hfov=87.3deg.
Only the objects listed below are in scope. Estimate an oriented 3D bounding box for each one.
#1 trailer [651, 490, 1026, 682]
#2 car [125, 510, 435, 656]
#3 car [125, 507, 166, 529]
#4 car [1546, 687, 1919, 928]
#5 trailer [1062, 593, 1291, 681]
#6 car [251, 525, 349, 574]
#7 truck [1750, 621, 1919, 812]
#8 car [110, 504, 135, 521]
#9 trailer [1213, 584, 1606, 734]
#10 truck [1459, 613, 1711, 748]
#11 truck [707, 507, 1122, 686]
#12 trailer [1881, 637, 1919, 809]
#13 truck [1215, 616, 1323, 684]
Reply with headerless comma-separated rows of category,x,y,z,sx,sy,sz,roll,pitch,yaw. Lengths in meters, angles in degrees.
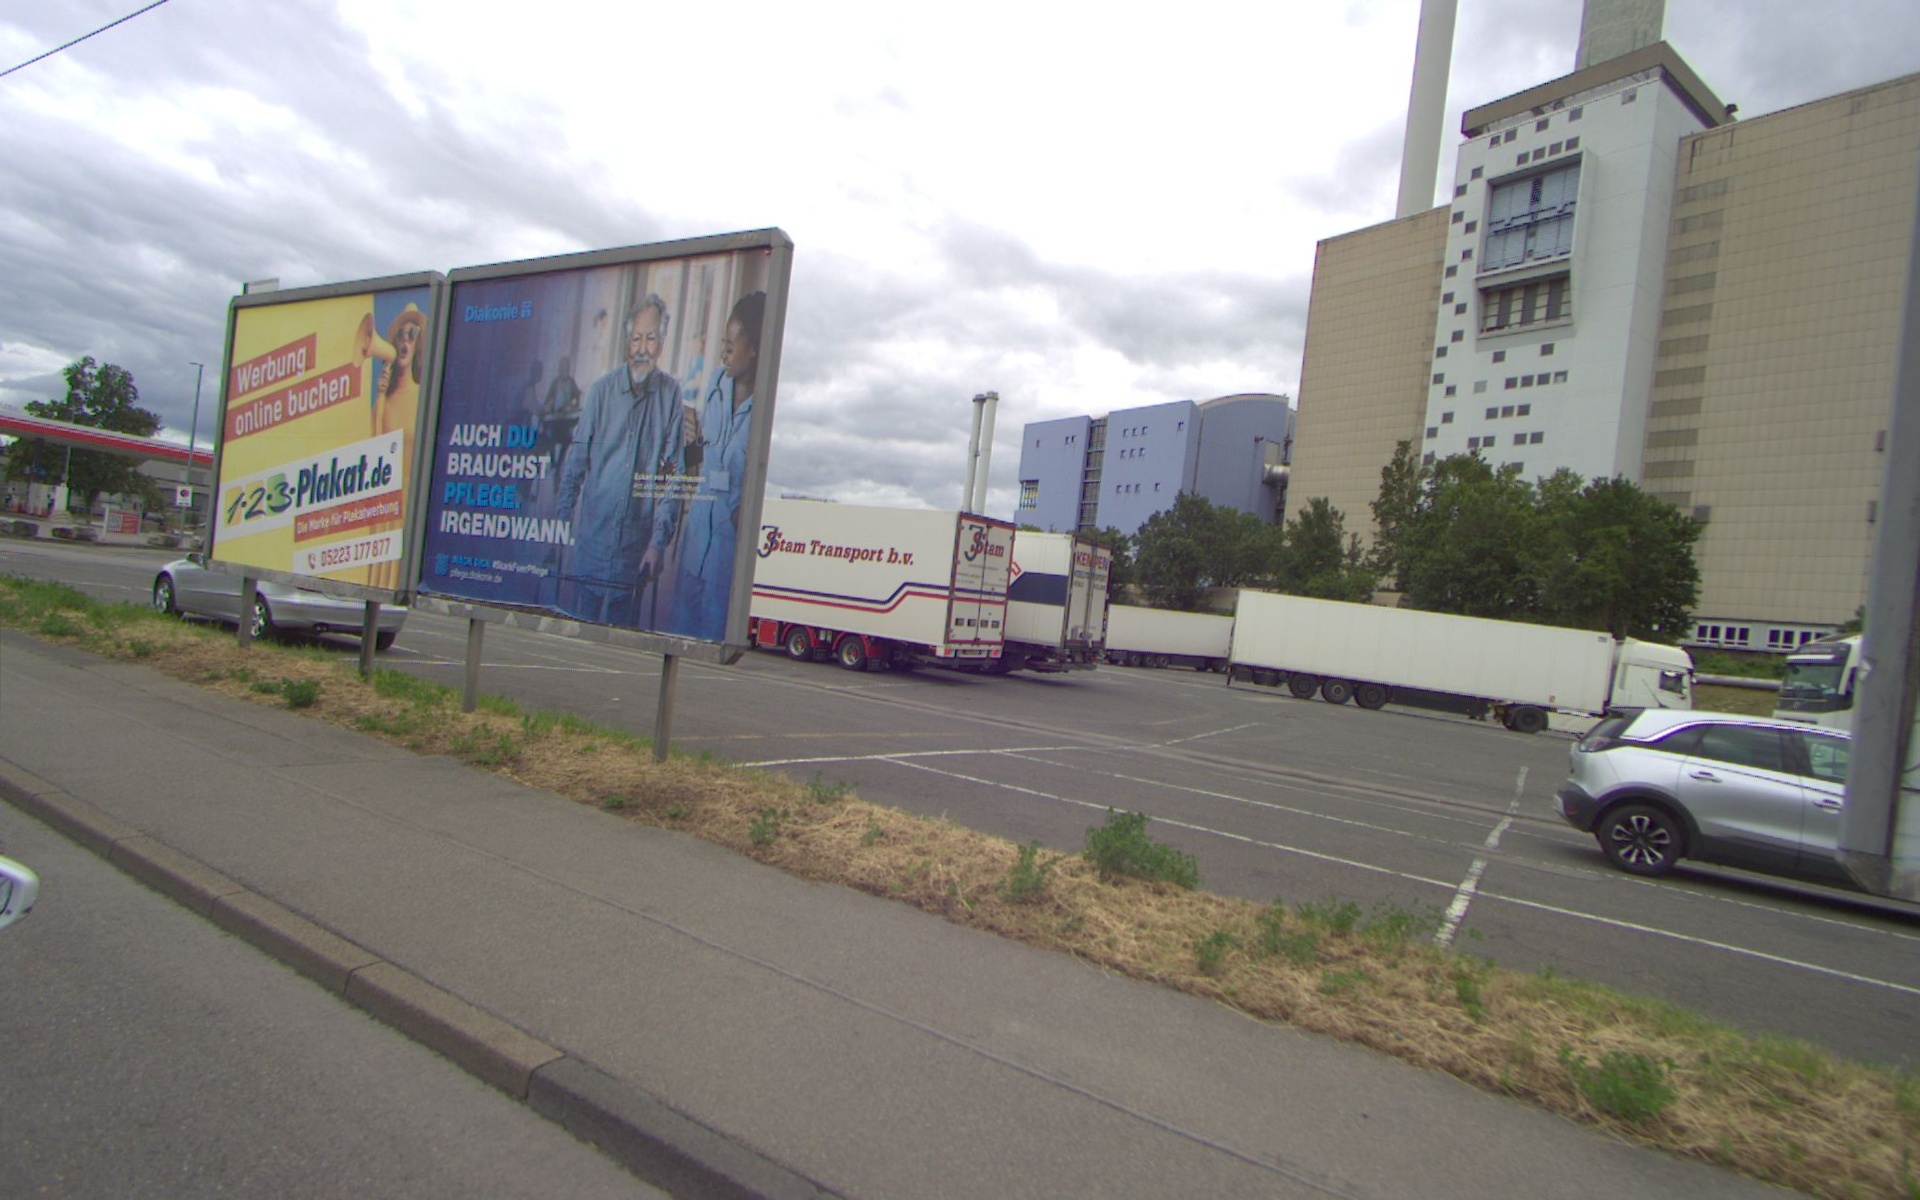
trailer,-3.556,-0.540,26.822,10.239,4.019,2.957,7,1,34
car,-9.635,-0.263,14.160,4.483,1.481,1.776,7,-1,31
car,-74.664,-7.509,92.183,3.820,1.549,1.734,6,0,32
car,7.780,1.915,9.291,3.933,1.588,1.769,7,-3,31
trailer,15.850,2.771,72.002,18.311,4.223,3.613,8,-1,-32
car,-28.366,-2.167,43.208,4.145,1.589,1.768,6,-1,31
truck,23.104,2.911,24.140,5.547,4.147,2.616,7,1,14
car,-91.833,-9.576,110.312,1.896,1.540,4.019,7,0,-39
trailer,17.389,2.195,40.320,13.480,3.958,3.644,7,0,18
truck,23.471,2.951,38.339,7.120,3.926,3.633,7,0,19
truck,-1.833,-0.309,30.637,12.852,4.019,3.076,7,1,32
trailer,29.089,3.664,22.615,12.208,4.147,2.616,7,1,14
truck,23.627,3.867,76.900,7.181,4.223,3.681,8,0,-31
